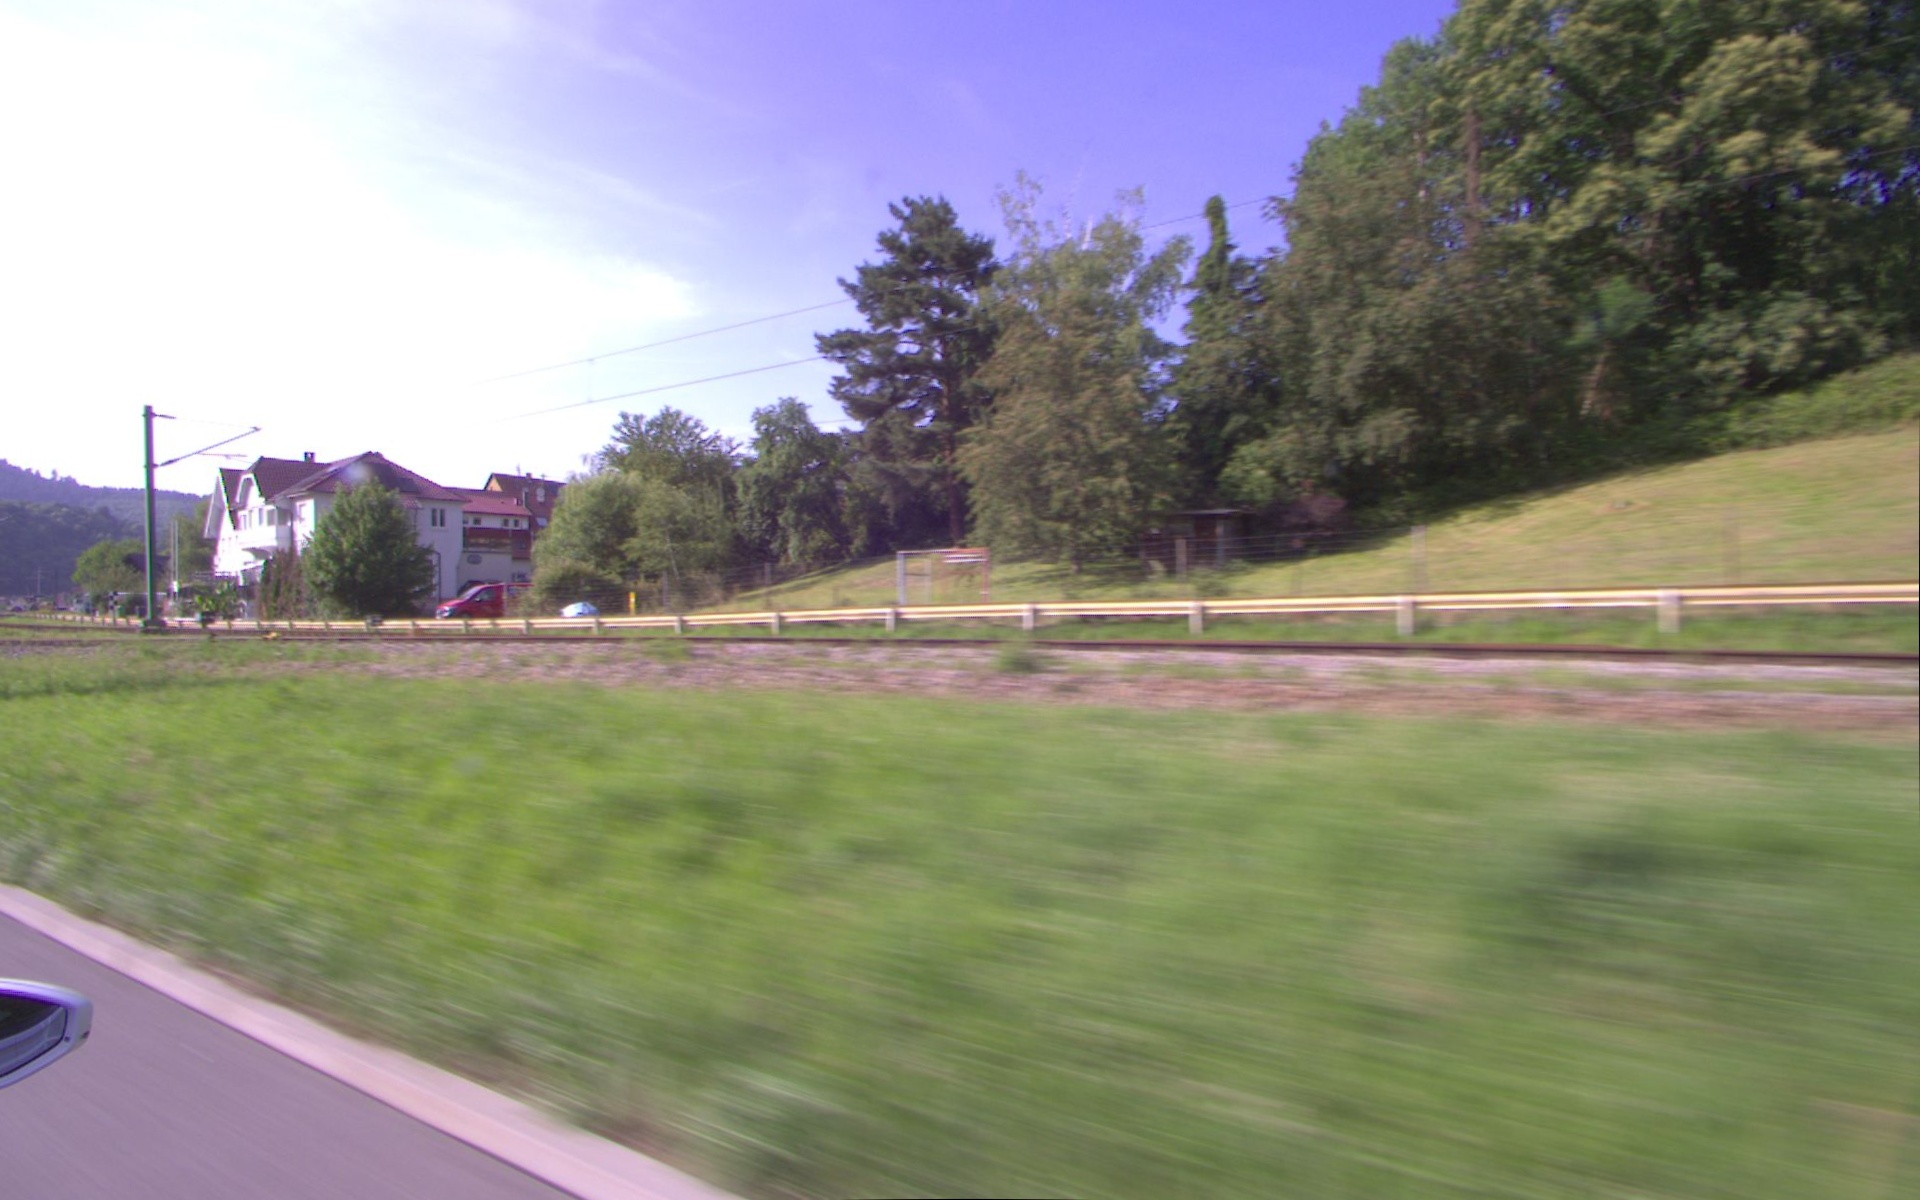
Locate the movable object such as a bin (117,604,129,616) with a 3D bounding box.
[{"bbox_3d":[-76.948,0.896,92.058,0.803,1.064,0.902,2,-1,-45],"label":"movable object such as a bin"}]

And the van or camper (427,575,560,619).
[{"bbox_3d":[-22.232,-0.190,47.919,2.097,1.955,5.387,0,2,42],"label":"van or camper"}]
